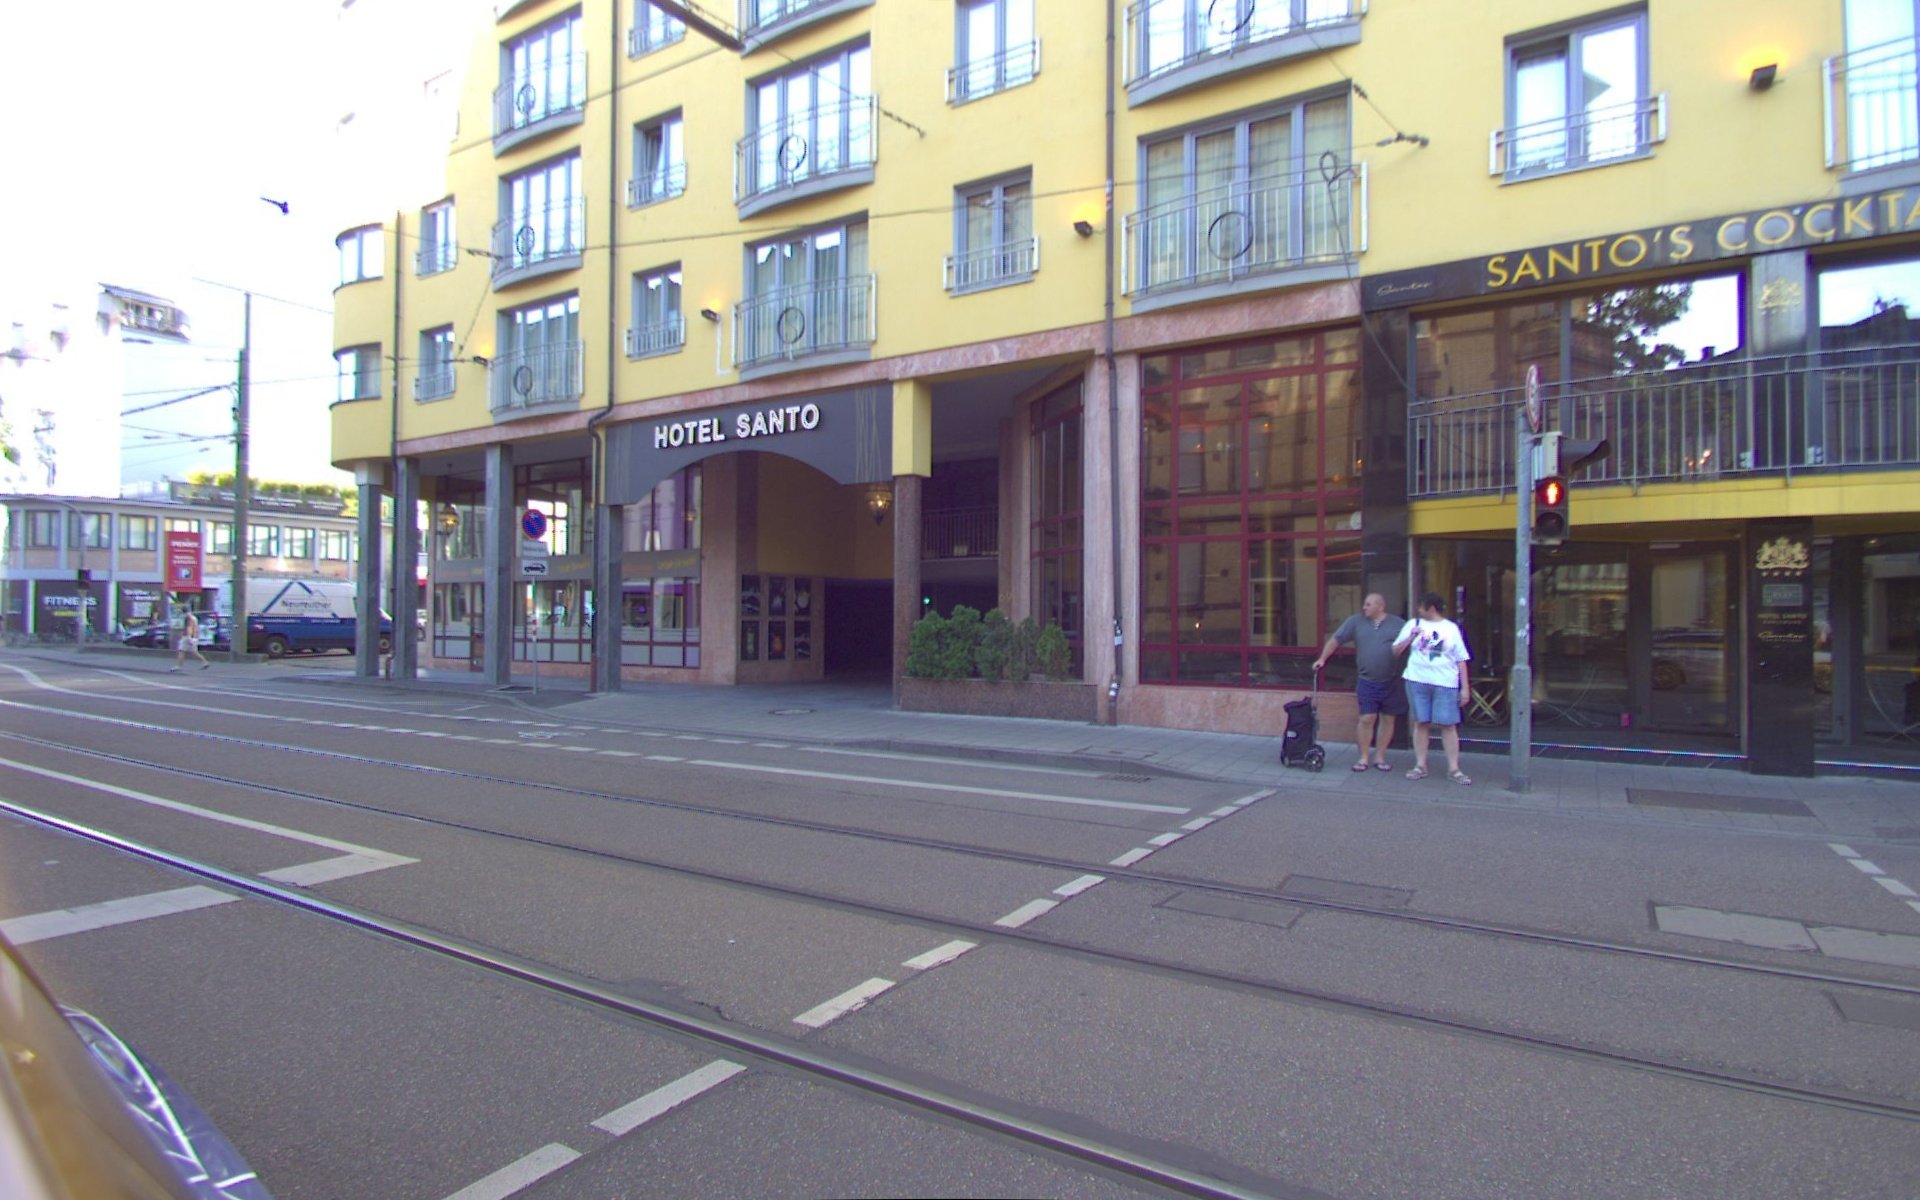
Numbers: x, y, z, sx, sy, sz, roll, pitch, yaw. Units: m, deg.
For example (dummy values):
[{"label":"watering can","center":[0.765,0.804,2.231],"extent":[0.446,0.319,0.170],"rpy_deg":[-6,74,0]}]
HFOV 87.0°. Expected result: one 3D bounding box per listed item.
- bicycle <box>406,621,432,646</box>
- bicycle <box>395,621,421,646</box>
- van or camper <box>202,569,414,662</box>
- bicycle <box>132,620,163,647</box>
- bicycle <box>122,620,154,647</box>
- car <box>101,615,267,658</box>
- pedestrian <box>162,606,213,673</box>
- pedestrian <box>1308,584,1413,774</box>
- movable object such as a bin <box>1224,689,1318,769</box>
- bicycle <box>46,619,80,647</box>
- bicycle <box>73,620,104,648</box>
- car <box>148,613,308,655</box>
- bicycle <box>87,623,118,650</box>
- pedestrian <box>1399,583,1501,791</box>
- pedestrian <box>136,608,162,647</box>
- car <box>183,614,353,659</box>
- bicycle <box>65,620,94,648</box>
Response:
[{"label":"bicycle","center":[-25.749,1.594,48.140],"extent":[1.830,1.196,0.427],"rpy_deg":[-2,-3,40]},{"label":"bicycle","center":[-26.053,1.584,47.740],"extent":[1.830,1.196,0.427],"rpy_deg":[-2,-3,40]},{"label":"van or camper","center":[-21.837,0.573,34.195],"extent":[2.308,2.849,5.561],"rpy_deg":[-1,-2,33]},{"label":"bicycle","center":[-36.806,1.524,45.861],"extent":[1.824,1.196,0.445],"rpy_deg":[-1,-2,30]},{"label":"bicycle","center":[-36.811,1.502,45.308],"extent":[1.824,1.196,0.445],"rpy_deg":[-1,-2,30]},{"label":"car","center":[-30.496,1.444,39.944],"extent":[1.874,1.595,4.856],"rpy_deg":[-1,-2,33]},{"label":"pedestrian","center":[-21.626,1.099,28.336],"extent":[0.906,1.846,0.827],"rpy_deg":[-1,-2,32]},{"label":"pedestrian","center":[4.029,0.753,10.173],"extent":[0.798,1.784,0.741],"rpy_deg":[-1,2,34]},{"label":"movable object such as a bin","center":[3.207,1.316,10.437],"extent":[0.839,0.721,0.380],"rpy_deg":[-1,2,34]},{"label":"bicycle","center":[-39.133,1.435,44.147],"extent":[1.822,1.196,0.443],"rpy_deg":[-1,-2,27]},{"label":"bicycle","center":[-38.633,1.499,44.868],"extent":[1.824,1.196,0.445],"rpy_deg":[-1,-2,30]},{"label":"car","center":[-27.712,1.299,38.455],"extent":[1.874,1.487,4.552],"rpy_deg":[-1,-2,33]},{"label":"bicycle","center":[-38.291,1.616,45.172],"extent":[1.824,1.196,0.440],"rpy_deg":[-1,-2,30]},{"label":"pedestrian","center":[4.729,0.787,9.740],"extent":[0.751,1.832,1.035],"rpy_deg":[-1,2,31]},{"label":"pedestrian","center":[-36.136,1.213,45.085],"extent":[0.681,1.710,0.676],"rpy_deg":[-1,-2,30]},{"label":"car","center":[-24.095,1.273,35.435],"extent":[1.874,1.487,4.552],"rpy_deg":[-1,-2,33]},{"label":"bicycle","center":[-38.676,1.489,44.430],"extent":[1.825,1.196,0.437],"rpy_deg":[-1,-2,32]}]
